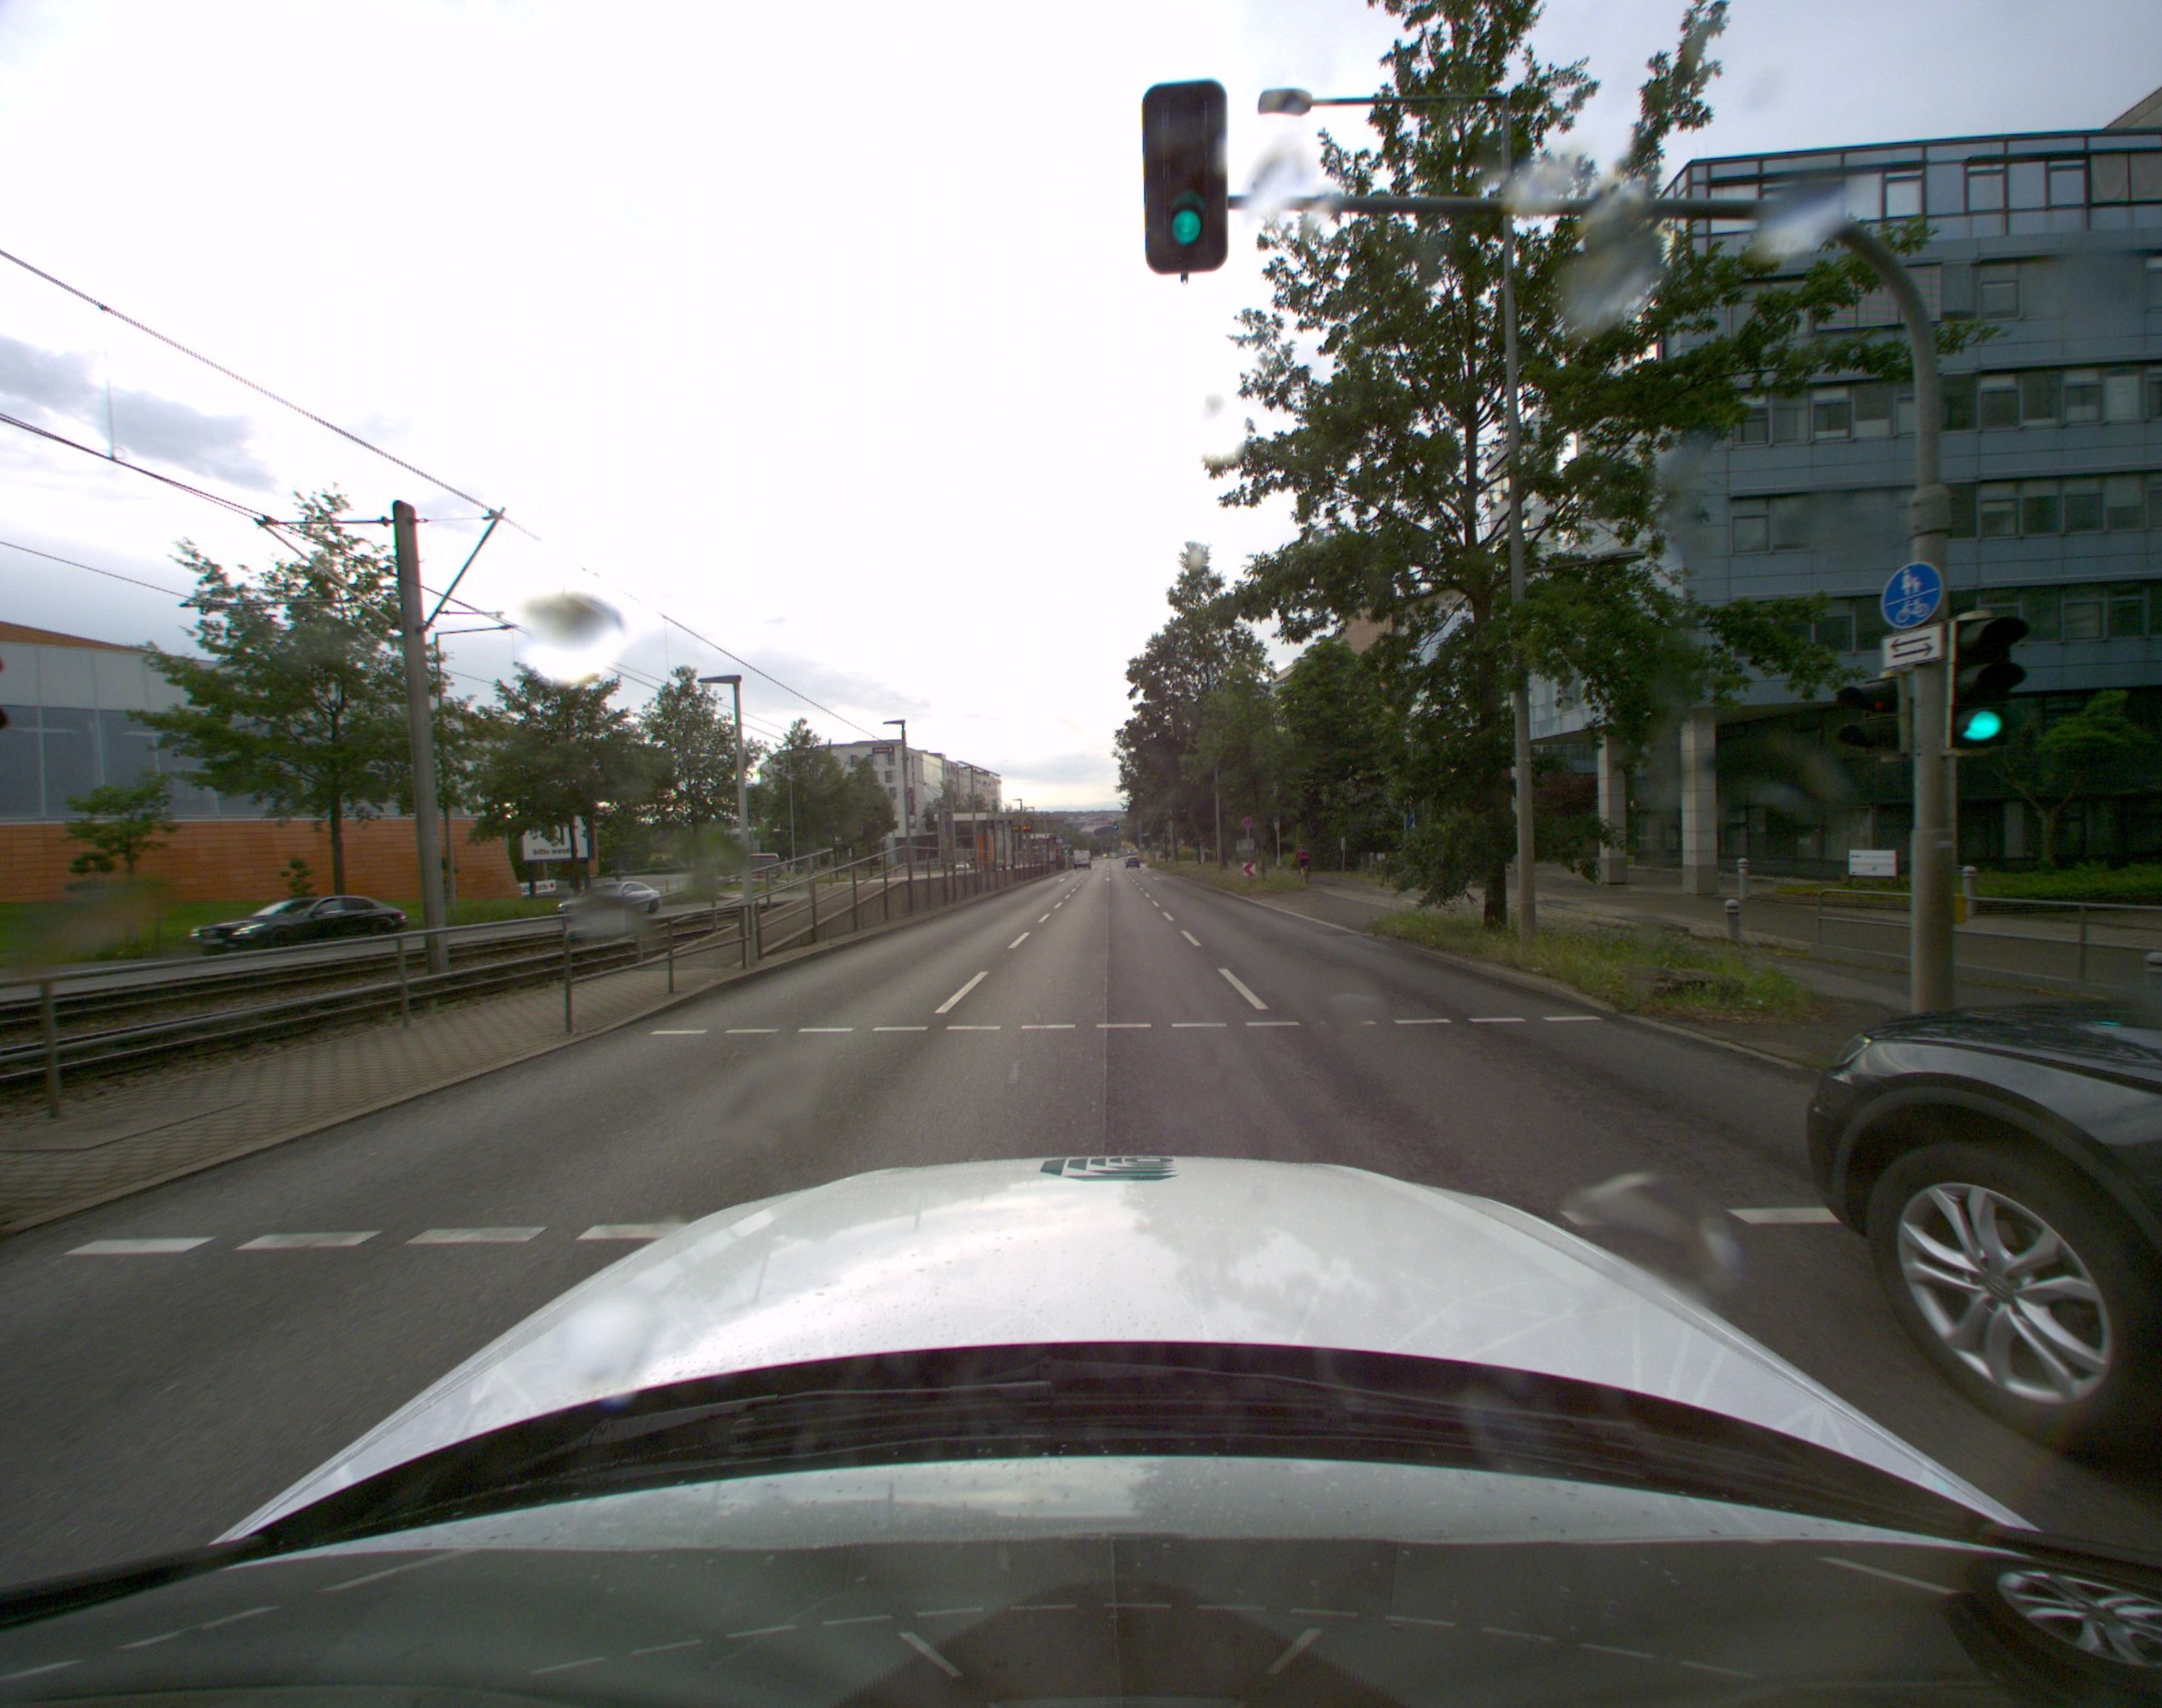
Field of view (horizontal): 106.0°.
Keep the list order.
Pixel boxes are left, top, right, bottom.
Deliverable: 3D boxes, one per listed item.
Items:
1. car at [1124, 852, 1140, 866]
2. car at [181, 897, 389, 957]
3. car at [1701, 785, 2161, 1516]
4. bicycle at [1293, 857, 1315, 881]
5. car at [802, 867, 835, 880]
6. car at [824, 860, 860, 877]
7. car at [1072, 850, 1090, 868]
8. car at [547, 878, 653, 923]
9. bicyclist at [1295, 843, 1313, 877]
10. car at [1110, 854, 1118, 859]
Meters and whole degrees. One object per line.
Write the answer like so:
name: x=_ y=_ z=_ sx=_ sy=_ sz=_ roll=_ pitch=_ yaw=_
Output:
car: x=6.381 y=0.657 z=102.401 sx=1.767 sy=1.691 sz=3.847 roll=-1 pitch=0 yaw=2
car: x=-21.390 y=1.923 z=22.146 sx=1.644 sy=1.237 sz=3.970 roll=-1 pitch=0 yaw=2
car: x=3.247 y=0.629 z=0.883 sx=1.811 sy=1.613 sz=4.472 roll=-1 pitch=0 yaw=2
bicycle: x=10.438 y=0.691 z=38.182 sx=0.578 sy=1.088 sz=1.906 roll=0 pitch=0 yaw=2
car: x=-30.078 y=2.245 z=93.415 sx=3.341 sy=1.387 sz=1.440 roll=-1 pitch=0 yaw=18
car: x=-30.464 y=1.896 z=104.062 sx=3.975 sy=2.013 sz=1.999 roll=-1 pitch=0 yaw=-1
car: x=0.017 y=0.608 z=100.061 sx=2.085 sy=2.054 sz=4.608 roll=-1 pitch=0 yaw=2
car: x=-18.276 y=1.725 z=31.162 sx=1.645 sy=1.436 sz=3.879 roll=-4 pitch=0 yaw=0
bicyclist: x=10.422 y=0.292 z=38.128 sx=0.643 sy=1.579 sz=0.855 roll=0 pitch=0 yaw=2
car: x=8.995 y=0.630 z=219.190 sx=1.773 sy=1.390 sz=4.009 roll=-2 pitch=0 yaw=8
